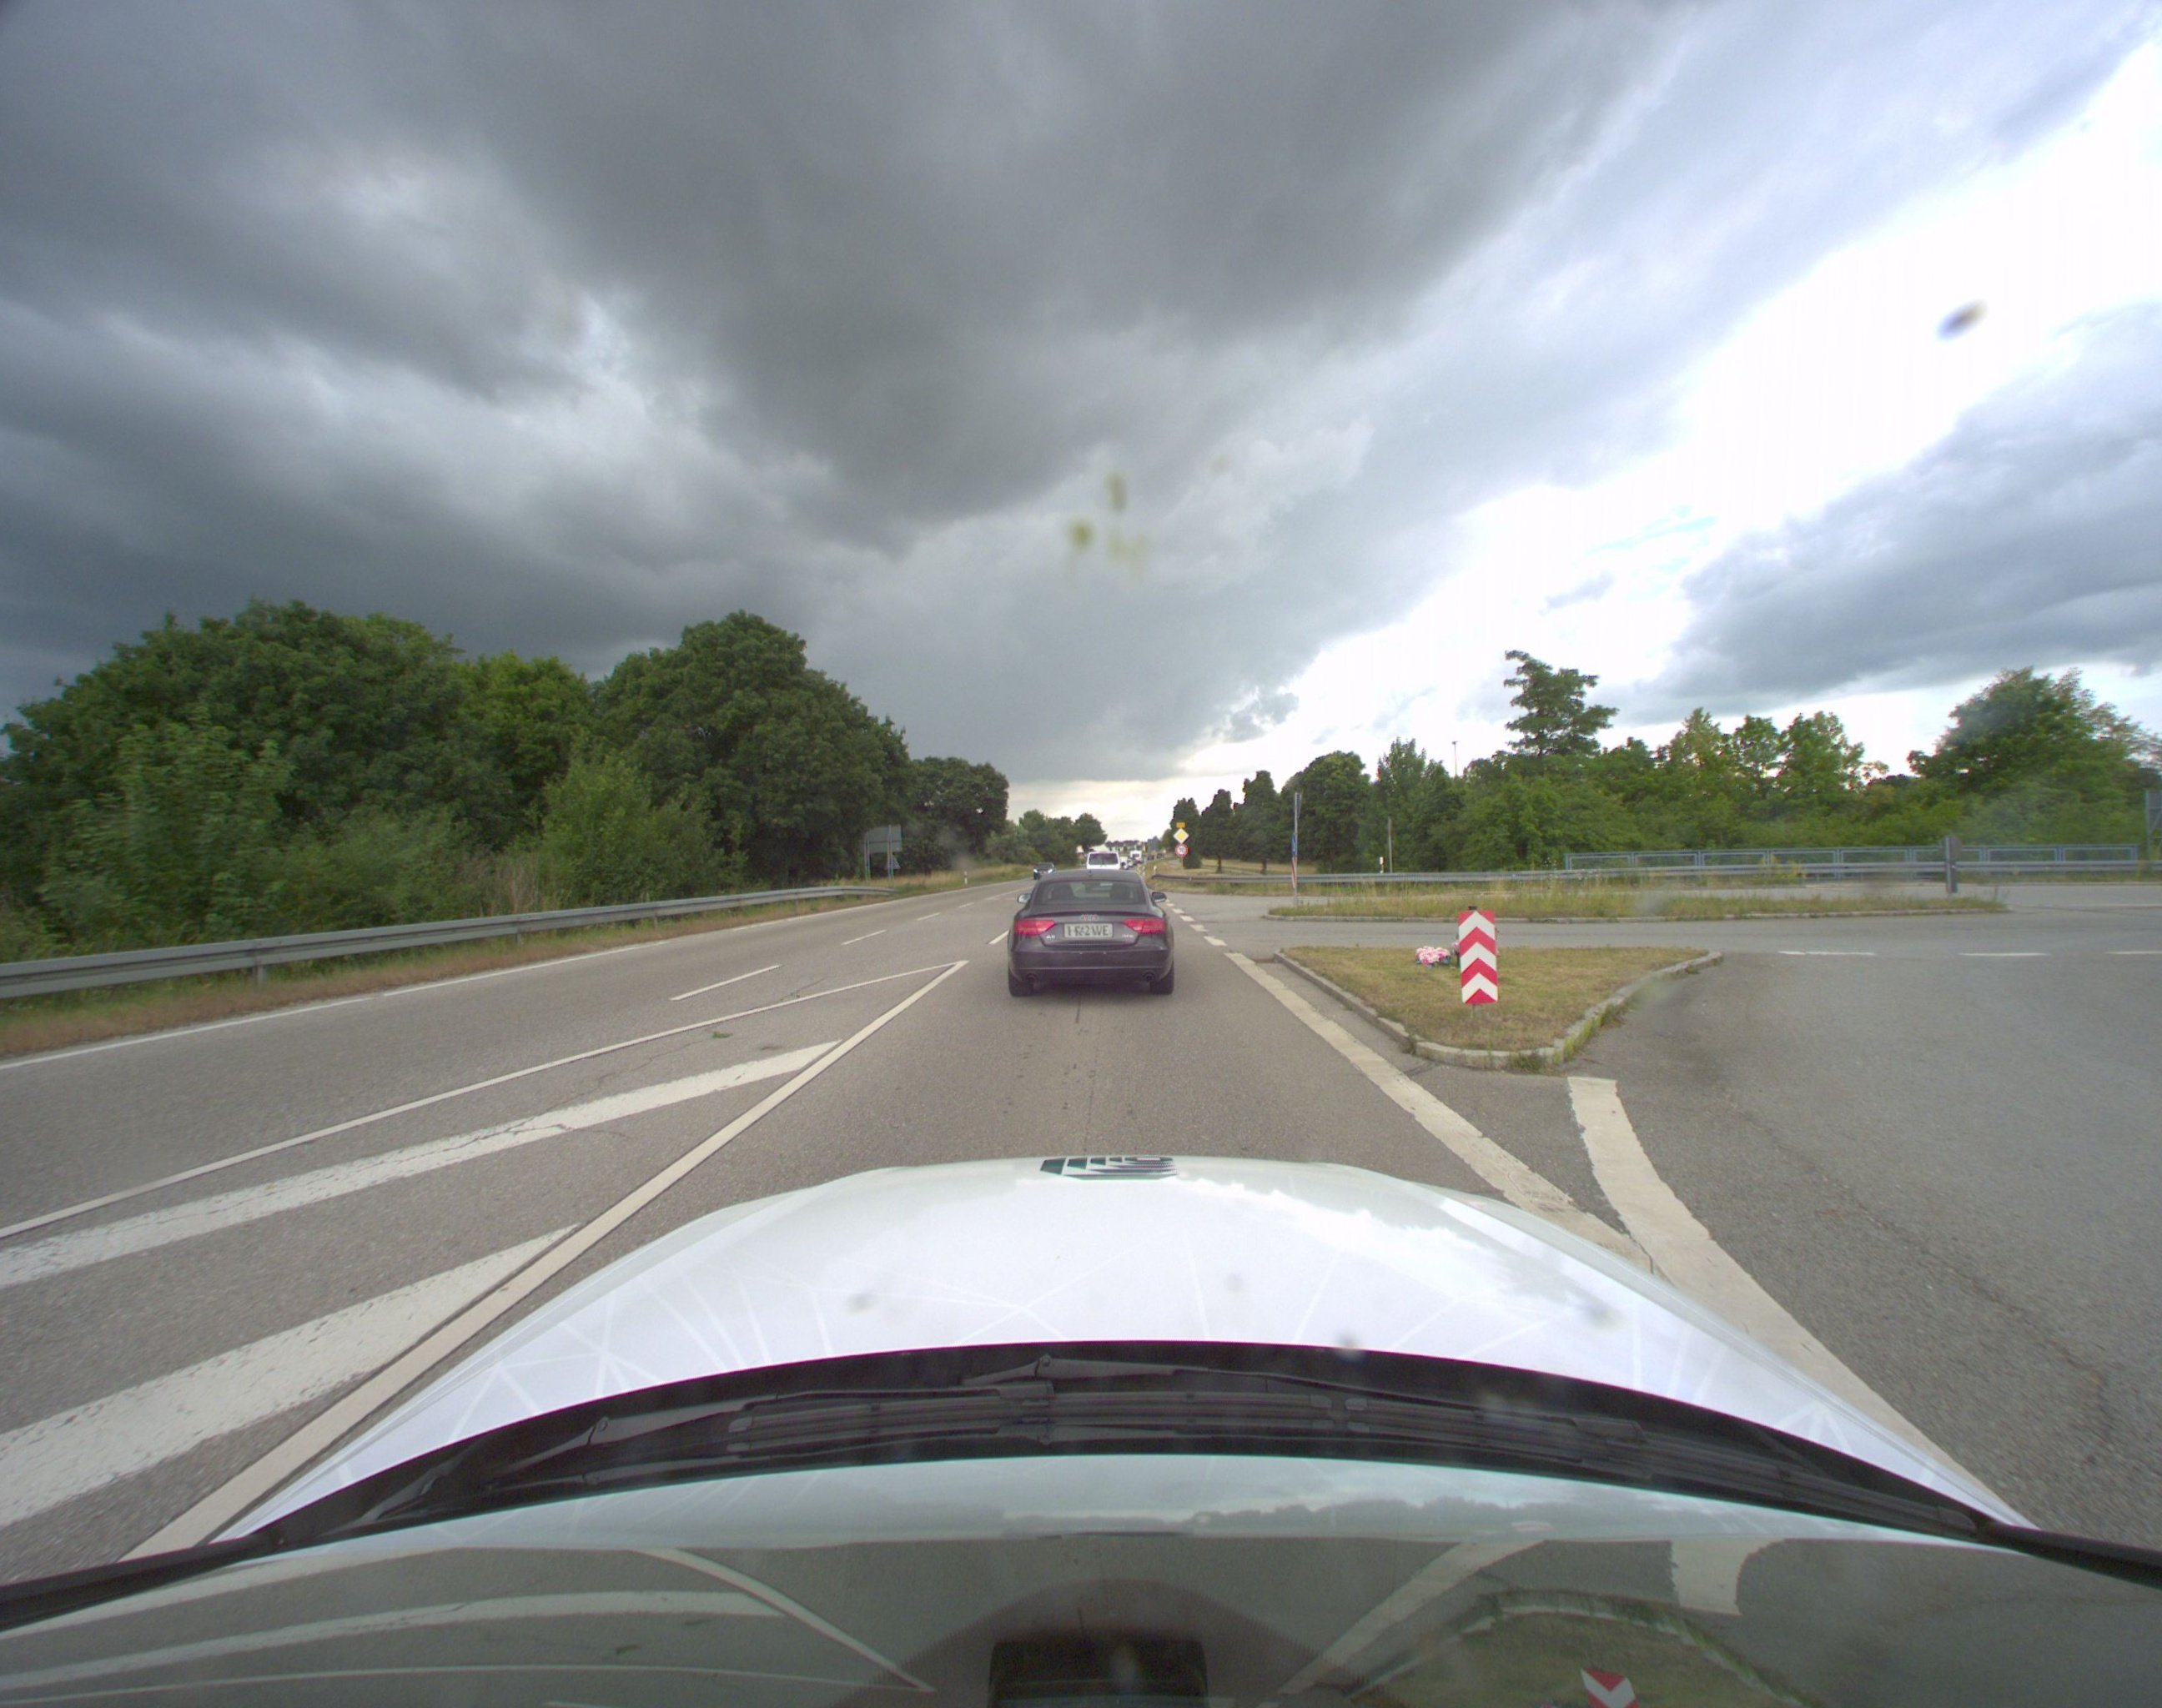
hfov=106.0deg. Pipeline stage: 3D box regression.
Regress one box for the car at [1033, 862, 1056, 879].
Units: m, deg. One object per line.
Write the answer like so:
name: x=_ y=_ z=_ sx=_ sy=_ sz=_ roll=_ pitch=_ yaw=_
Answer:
car: x=-3.271 y=1.470 z=74.026 sx=1.704 sy=1.523 sz=4.002 roll=-1 pitch=0 yaw=2

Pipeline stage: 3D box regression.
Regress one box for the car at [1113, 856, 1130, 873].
car: x=5.208 y=1.386 z=103.906 sx=1.984 sy=2.088 sz=4.005 roll=-1 pitch=-1 yaw=5

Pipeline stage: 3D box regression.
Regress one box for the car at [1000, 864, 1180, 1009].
car: x=0.148 y=0.839 z=10.064 sx=1.776 sy=1.376 sz=4.002 roll=0 pitch=0 yaw=2

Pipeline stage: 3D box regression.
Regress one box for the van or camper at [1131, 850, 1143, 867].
van or camper: x=11.449 y=0.955 z=167.510 sx=2.330 sy=3.481 sz=5.724 roll=-1 pitch=-1 yaw=4

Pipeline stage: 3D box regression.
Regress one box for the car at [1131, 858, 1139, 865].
car: x=9.885 y=1.376 z=149.259 sx=1.251 sy=1.353 sz=3.473 roll=-1 pitch=-1 yaw=8

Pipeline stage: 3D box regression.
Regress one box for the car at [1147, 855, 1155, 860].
car: x=17.790 y=0.900 z=206.809 sx=1.712 sy=1.451 sz=4.003 roll=0 pitch=0 yaw=3

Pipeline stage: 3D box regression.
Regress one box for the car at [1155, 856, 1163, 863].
car: x=22.389 y=1.483 z=233.113 sx=1.986 sy=2.014 sz=4.001 roll=-1 pitch=0 yaw=1

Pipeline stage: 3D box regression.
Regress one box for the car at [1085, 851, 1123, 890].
car: x=1.162 y=0.785 z=40.831 sx=1.832 sy=1.882 sz=4.002 roll=0 pitch=0 yaw=2

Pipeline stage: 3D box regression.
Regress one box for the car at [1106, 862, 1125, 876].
car: x=3.728 y=1.618 z=87.787 sx=1.787 sy=1.464 sz=3.253 roll=-1 pitch=-1 yaw=5

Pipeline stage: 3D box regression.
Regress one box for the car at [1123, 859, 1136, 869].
car: x=8.051 y=1.613 z=134.966 sx=1.726 sy=1.514 sz=3.754 roll=-1 pitch=-1 yaw=8
